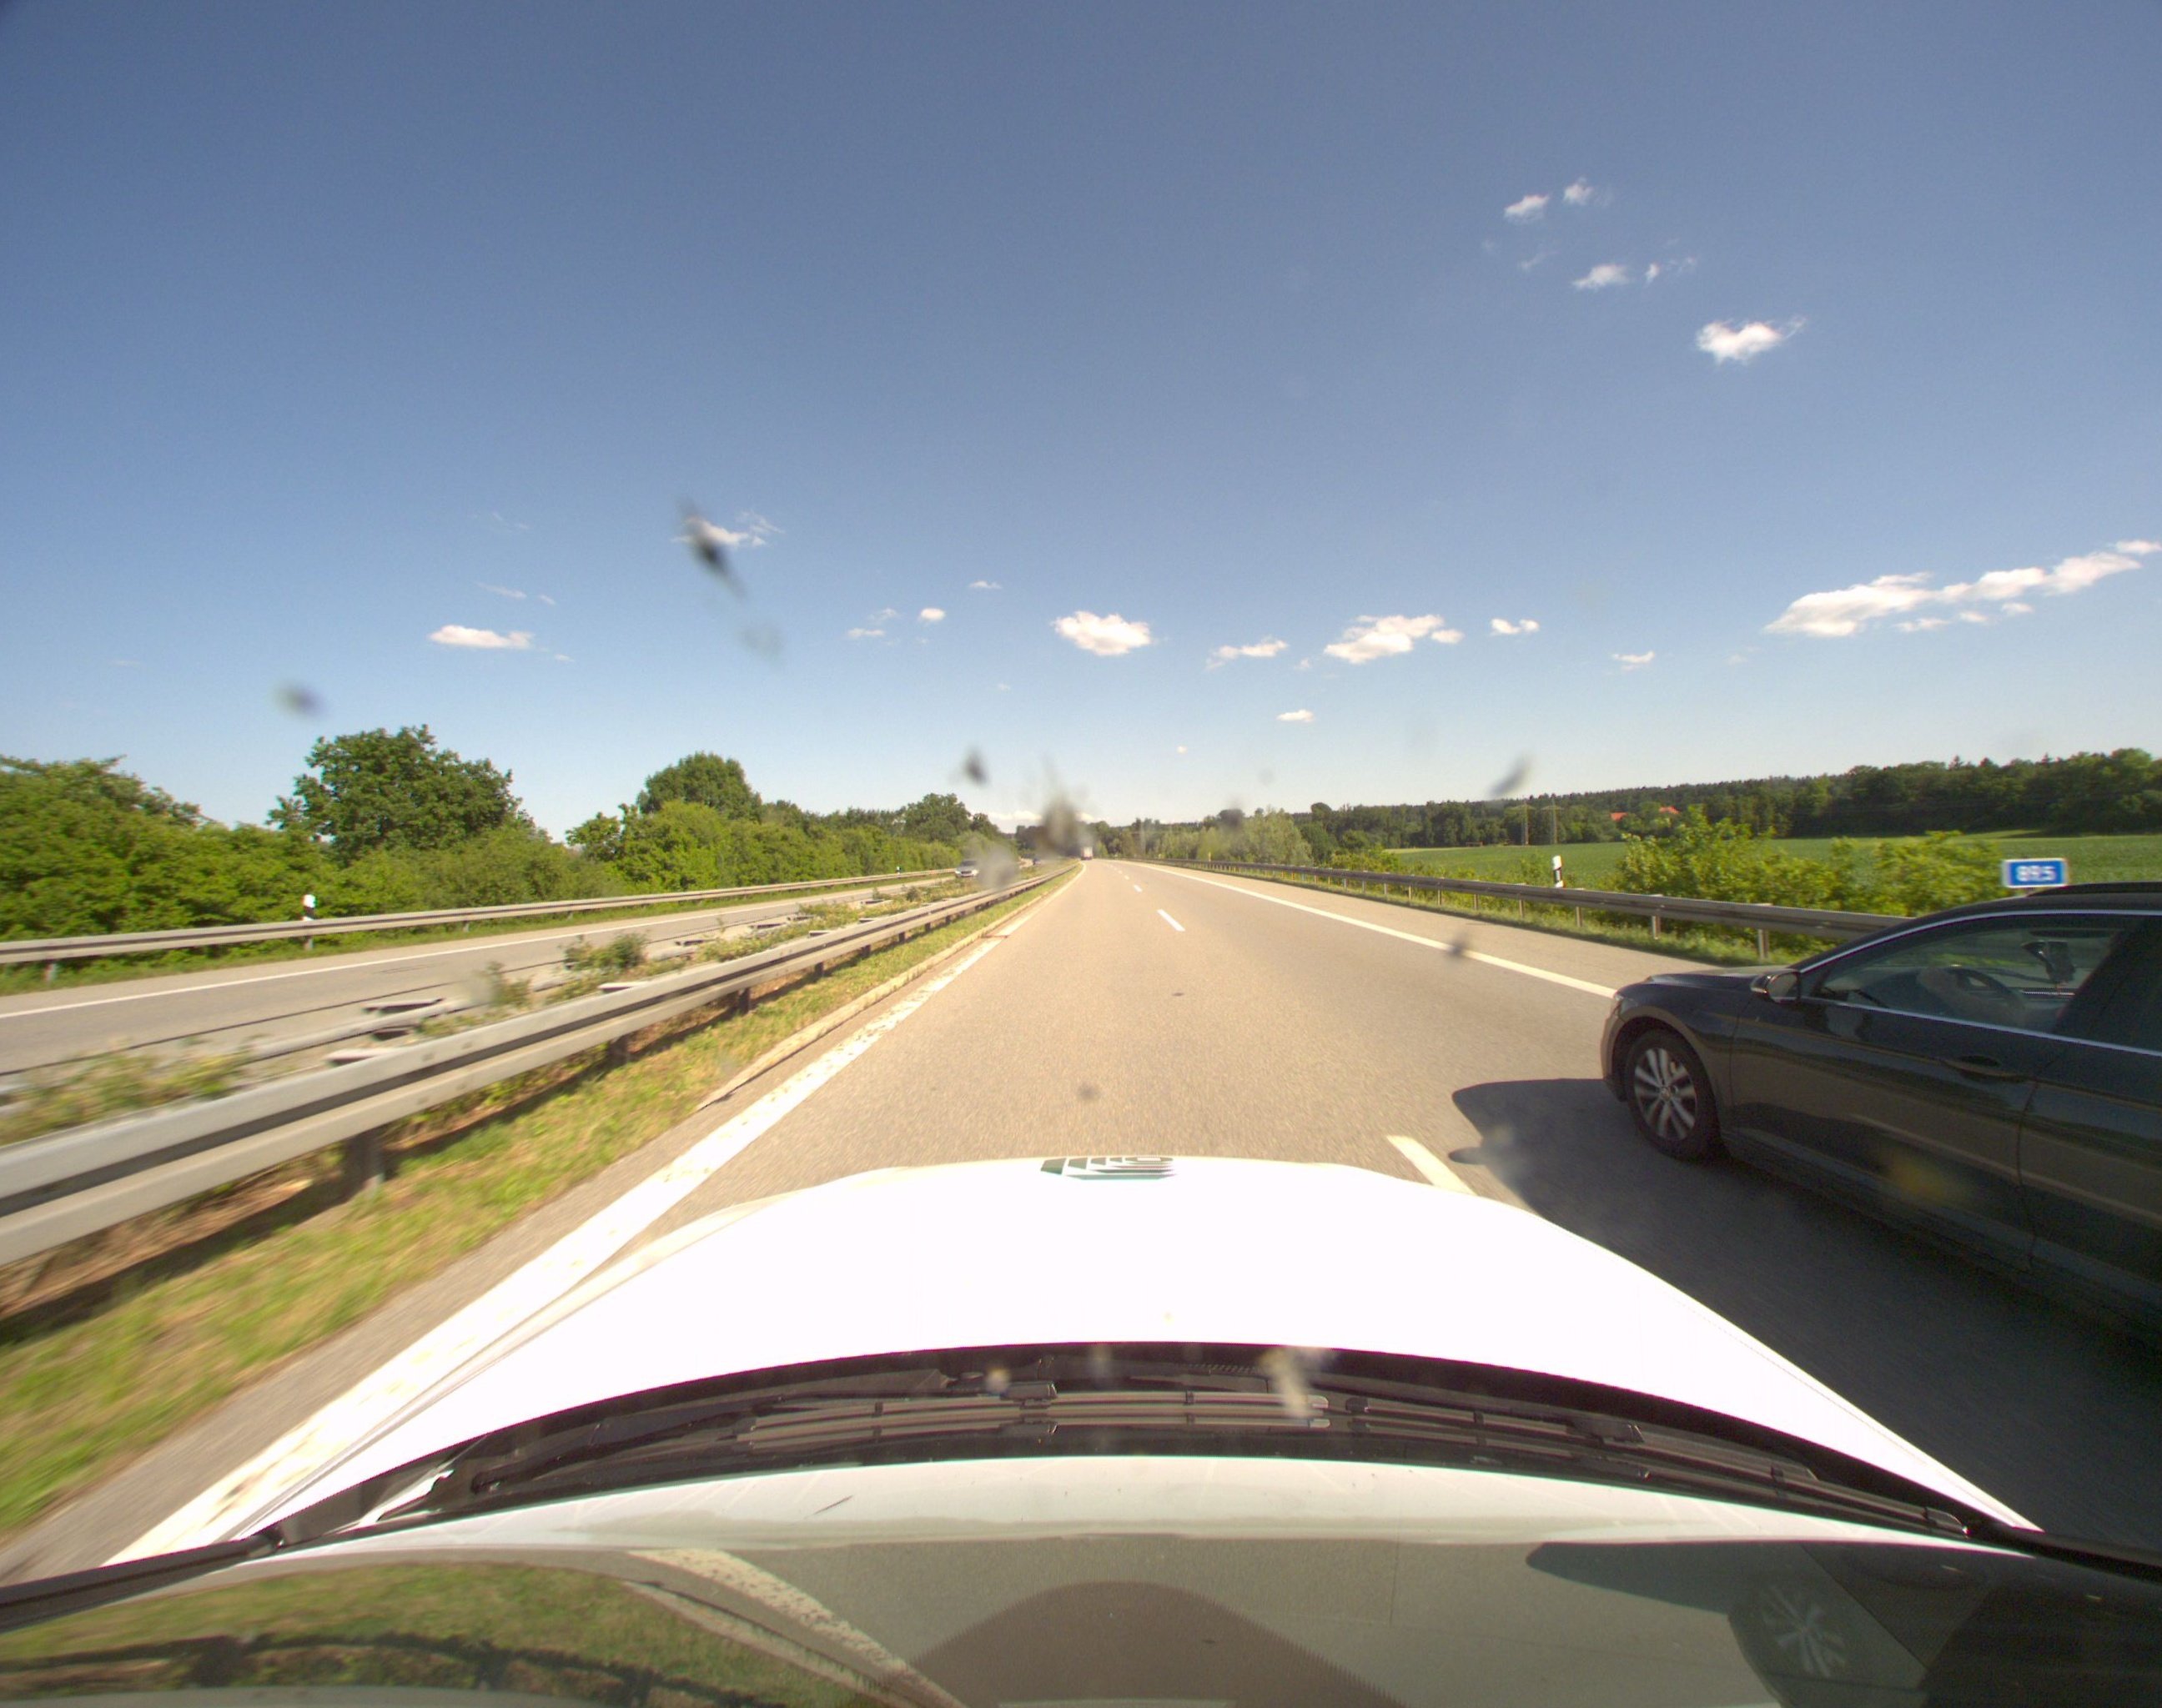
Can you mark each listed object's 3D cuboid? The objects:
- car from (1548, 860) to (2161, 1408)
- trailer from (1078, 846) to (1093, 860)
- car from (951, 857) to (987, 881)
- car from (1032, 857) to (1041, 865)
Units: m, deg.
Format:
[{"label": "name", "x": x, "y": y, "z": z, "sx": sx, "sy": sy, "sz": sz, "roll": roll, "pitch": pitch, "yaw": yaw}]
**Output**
[{"label": "car", "x": 3.653, "y": 0.734, "z": 2.748, "sx": 1.712, "sy": 1.400, "sz": 4.414, "roll": 0, "pitch": 0, "yaw": 1}, {"label": "trailer", "x": 1.320, "y": -0.341, "z": 255.849, "sx": 2.883, "sy": 4.065, "sz": 12.386, "roll": -4, "pitch": 1, "yaw": -8}, {"label": "car", "x": -8.141, "y": 1.064, "z": 59.626, "sx": 1.904, "sy": 1.588, "sz": 4.915, "roll": -3, "pitch": 0, "yaw": -1}, {"label": "car", "x": -9.174, "y": 1.459, "z": 168.538, "sx": 1.671, "sy": 1.441, "sz": 3.999, "roll": -4, "pitch": 0, "yaw": 0}]
